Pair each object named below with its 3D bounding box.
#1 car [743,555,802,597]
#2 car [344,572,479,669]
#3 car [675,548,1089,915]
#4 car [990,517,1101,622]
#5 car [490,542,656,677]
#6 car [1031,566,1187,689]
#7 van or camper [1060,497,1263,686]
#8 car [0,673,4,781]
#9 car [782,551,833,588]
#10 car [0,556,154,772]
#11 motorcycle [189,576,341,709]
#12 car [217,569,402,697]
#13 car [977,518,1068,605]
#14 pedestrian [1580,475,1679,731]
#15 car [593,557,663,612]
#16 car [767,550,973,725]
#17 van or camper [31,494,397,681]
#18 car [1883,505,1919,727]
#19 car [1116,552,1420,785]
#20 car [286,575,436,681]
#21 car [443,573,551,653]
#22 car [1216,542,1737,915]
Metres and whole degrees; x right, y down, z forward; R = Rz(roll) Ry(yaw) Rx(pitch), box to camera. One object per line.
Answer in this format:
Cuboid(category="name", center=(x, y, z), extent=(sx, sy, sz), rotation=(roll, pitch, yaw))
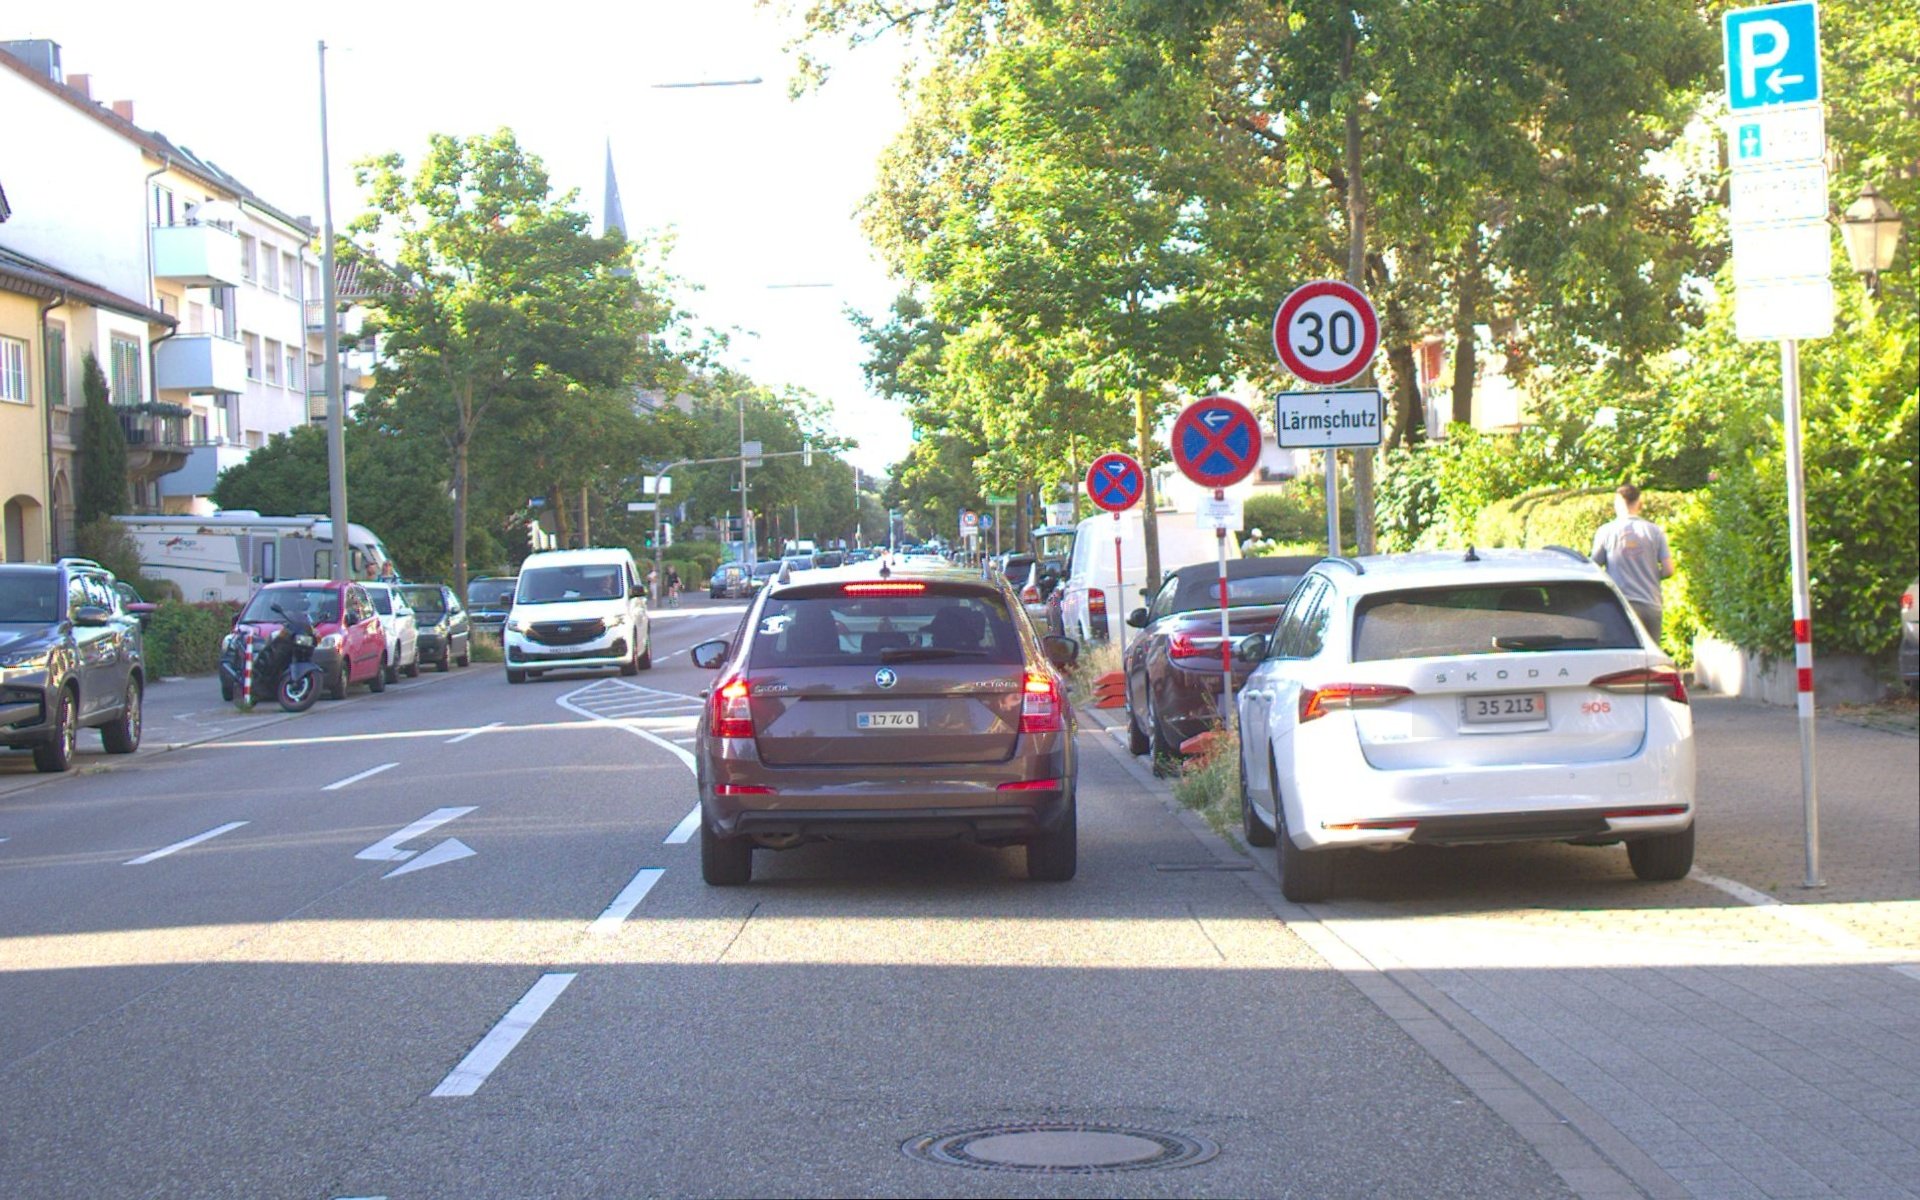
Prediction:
Cuboid(category="car", center=(-7.109, -0.935, 130.520), extent=(1.993, 1.503, 4.000), rotation=(-2, 1, -1))
Cuboid(category="car", center=(-8.883, 0.308, 55.863), extent=(1.664, 1.427, 3.275), rotation=(-2, 1, -1))
Cuboid(category="car", center=(-0.338, 0.535, 16.711), extent=(1.729, 1.488, 3.951), rotation=(-2, 1, 0))
Cuboid(category="car", center=(1.537, -0.591, 62.970), extent=(1.729, 1.809, 3.951), rotation=(-2, 1, -2))
Cuboid(category="car", center=(-5.430, 0.088, 48.720), extent=(1.876, 1.751, 4.179), rotation=(-2, 1, -1))
Cuboid(category="car", center=(1.960, 0.333, 46.198), extent=(1.729, 1.488, 3.951), rotation=(-2, 1, -2))
Cuboid(category="van or camper", center=(2.268, -0.138, 39.678), extent=(1.993, 2.007, 4.000), rotation=(-2, 1, -1))
Cuboid(category="car", center=(-8.525, 0.638, 25.667), extent=(1.750, 1.734, 3.591), rotation=(-2, 1, -1))
Cuboid(category="car", center=(-6.571, -1.341, 148.293), extent=(1.993, 1.503, 4.000), rotation=(-2, 1, -1))
Cuboid(category="car", center=(-8.309, 0.525, 30.363), extent=(1.507, 1.751, 3.694), rotation=(-2, 1, -1))
Cuboid(category="motorcycle", center=(-8.236, 0.498, 40.695), extent=(0.764, 1.506, 2.029), rotation=(-3, 2, -43))
Cuboid(category="car", center=(-8.580, 0.397, 45.629), extent=(1.664, 1.506, 4.179), rotation=(-2, 1, -1))
Cuboid(category="car", center=(1.342, -0.868, 75.460), extent=(1.729, 1.809, 3.951), rotation=(-2, 1, -2))
Cuboid(category="pedestrian", center=(4.786, 0.015, 24.594), extent=(0.535, 1.788, 0.687), rotation=(-2, 1, 1))
Cuboid(category="car", center=(-9.389, -0.450, 97.477), extent=(1.664, 1.427, 3.275), rotation=(-2, 1, -1))
Cuboid(category="car", center=(-0.915, 0.310, 32.819), extent=(1.729, 1.488, 3.951), rotation=(-2, 1, -4))
Cuboid(category="van or camper", center=(-16.610, -0.301, 76.824), extent=(7.639, 3.861, 2.000), rotation=(-2, 1, -2))
Cuboid(category="car", center=(8.469, 0.039, 23.873), extent=(3.799, 1.520, 1.512), rotation=(-2, 1, -22))
Cuboid(category="car", center=(2.075, 0.415, 24.212), extent=(1.821, 1.408, 4.111), rotation=(-2, 1, 1))
Cuboid(category="car", center=(-8.910, 0.389, 51.318), extent=(1.664, 1.427, 3.275), rotation=(-2, 1, -1))
Cuboid(category="car", center=(-9.023, 0.226, 67.195), extent=(1.664, 1.427, 3.275), rotation=(-2, 1, -1))
Cuboid(category="car", center=(2.216, 0.479, 15.782), extent=(1.821, 1.408, 4.111), rotation=(-2, 1, 1))
